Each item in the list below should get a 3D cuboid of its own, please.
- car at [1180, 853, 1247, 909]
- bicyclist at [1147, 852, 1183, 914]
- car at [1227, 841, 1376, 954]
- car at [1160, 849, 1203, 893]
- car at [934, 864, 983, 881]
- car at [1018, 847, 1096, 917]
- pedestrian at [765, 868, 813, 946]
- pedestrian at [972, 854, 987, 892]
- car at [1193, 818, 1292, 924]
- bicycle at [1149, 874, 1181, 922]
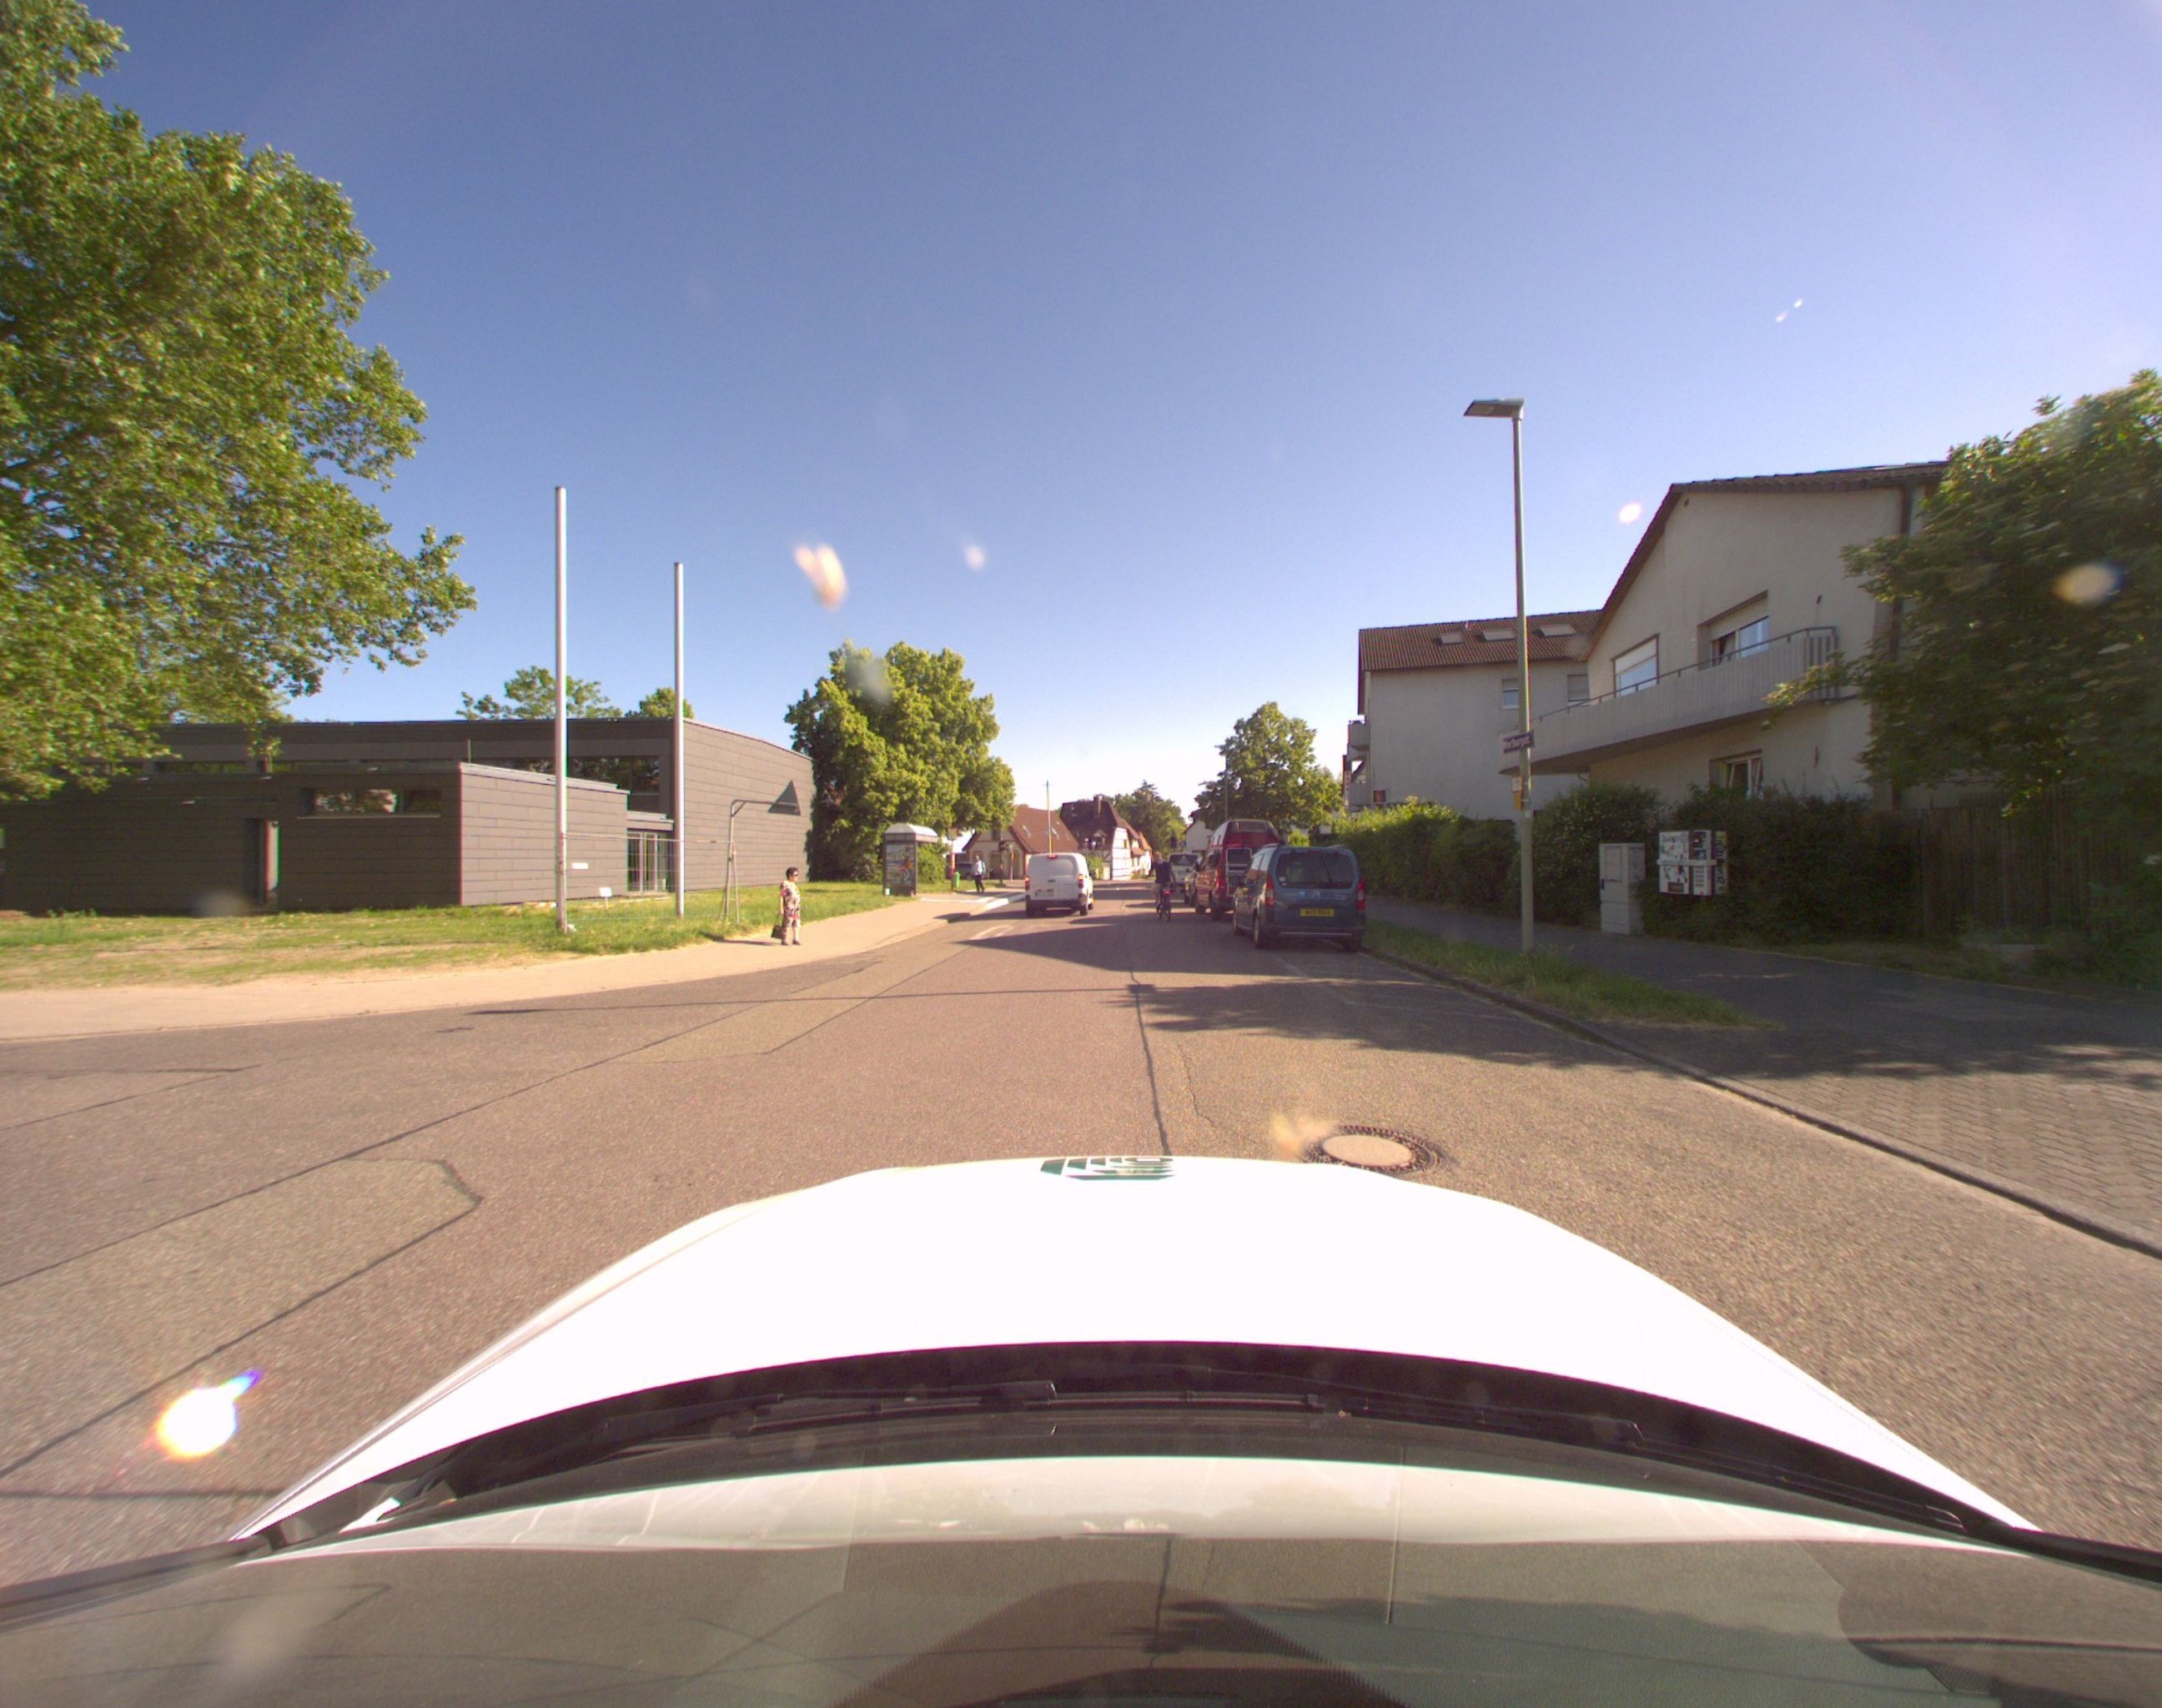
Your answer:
[{"bbox_3d":[4.610,0.926,28.842,1.797,1.785,4.001,1,-1,2],"label":"car"},{"bbox_3d":[2.189,0.739,21.372,0.901,1.584,0.967,0,-1,4],"label":"bicyclist"},{"bbox_3d":[3.962,0.733,15.283,1.797,1.785,4.001,1,-1,2],"label":"car"},{"bbox_3d":[5.076,0.865,41.711,1.797,2.069,4.001,1,-1,2],"label":"car"},{"bbox_3d":[-10.782,1.647,71.910,3.943,1.429,1.724,0,0,20],"label":"car"},{"bbox_3d":[-0.631,0.809,24.960,1.985,1.882,4.292,-2,-1,3],"label":"car"},{"bbox_3d":[-5.638,1.006,15.729,0.505,1.446,0.643,2,0,36],"label":"pedestrian"},{"bbox_3d":[-4.905,0.914,39.233,0.619,1.805,0.640,-1,-1,1],"label":"pedestrian"},{"bbox_3d":[4.274,0.444,22.324,1.859,2.562,4.769,1,-1,2],"label":"car"},{"bbox_3d":[2.197,1.125,21.417,0.783,1.138,2.282,0,0,5],"label":"bicycle"}]
